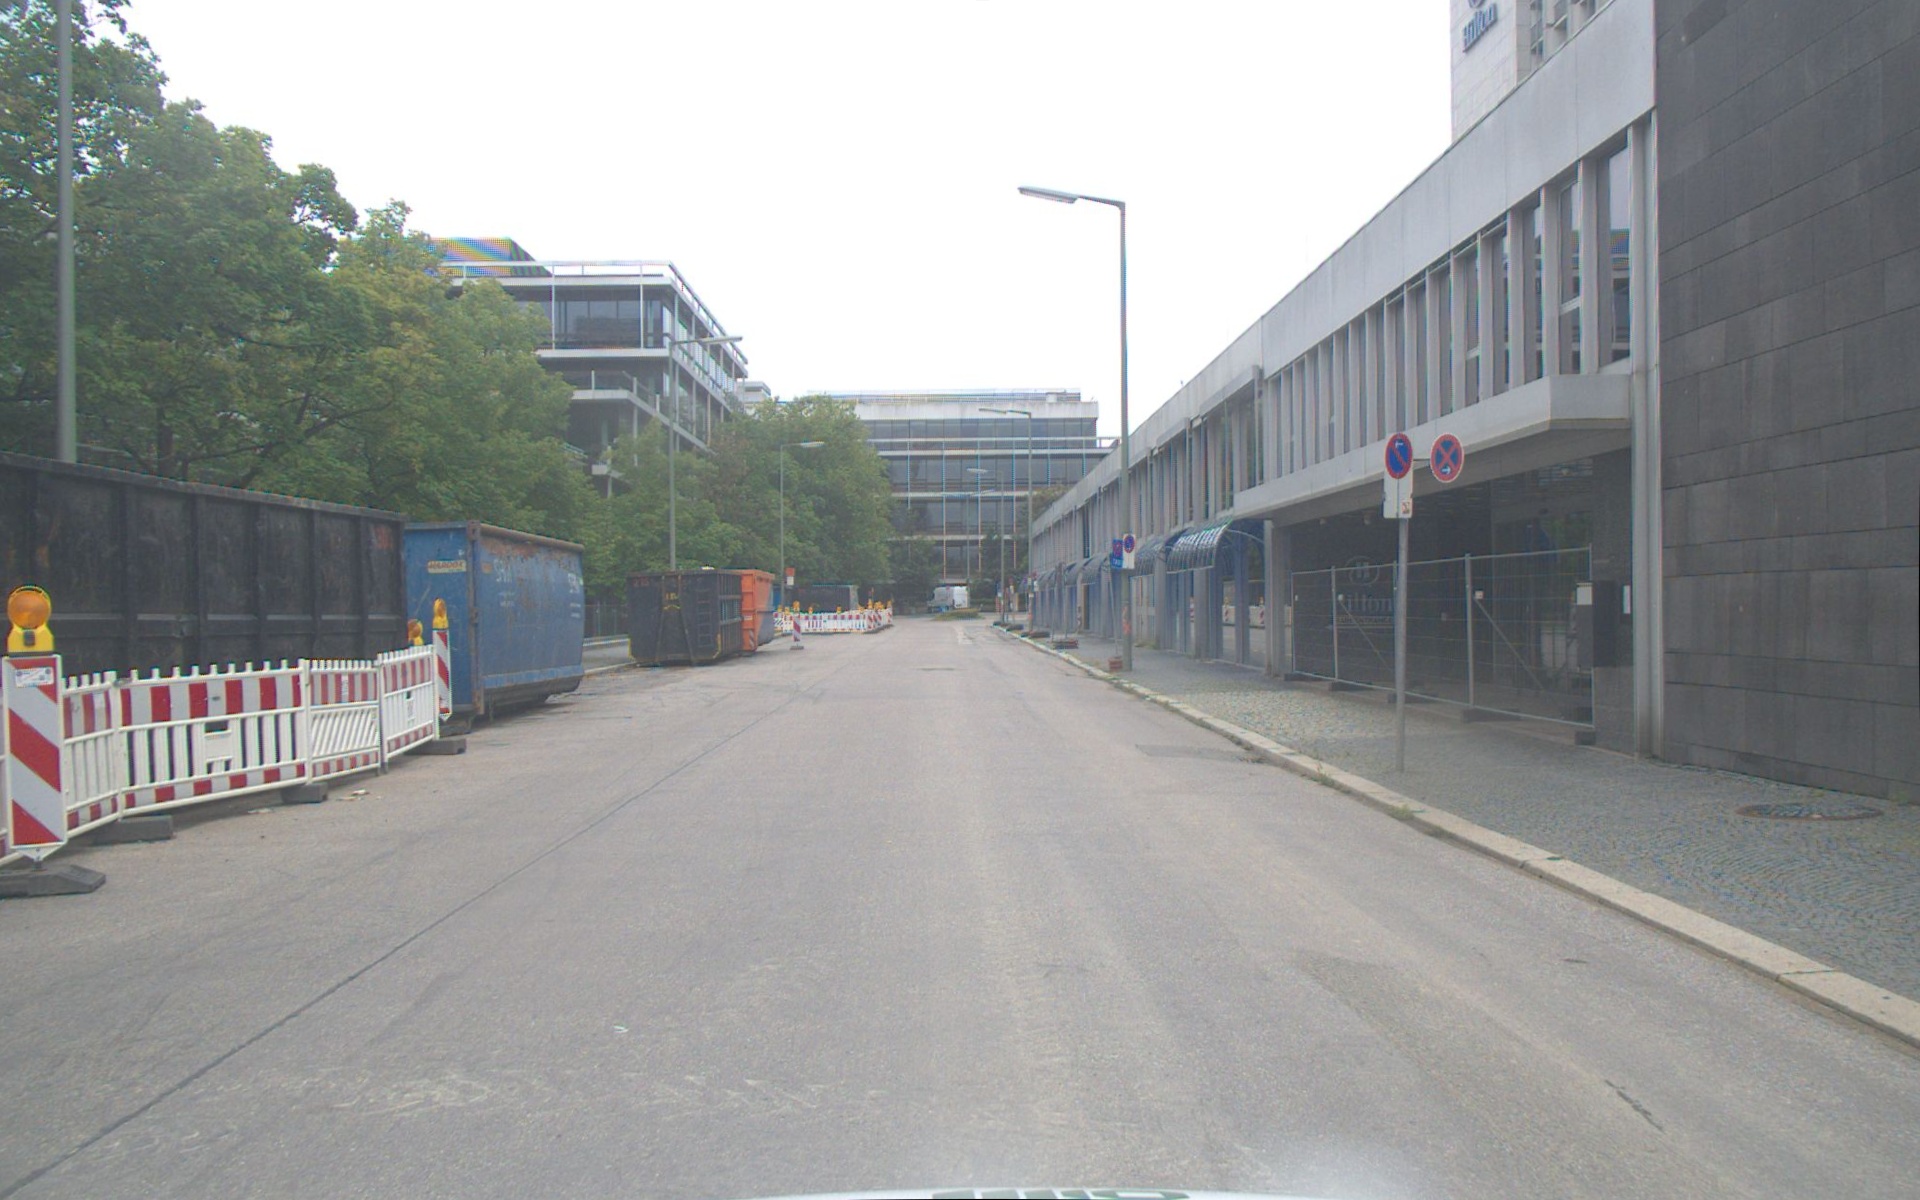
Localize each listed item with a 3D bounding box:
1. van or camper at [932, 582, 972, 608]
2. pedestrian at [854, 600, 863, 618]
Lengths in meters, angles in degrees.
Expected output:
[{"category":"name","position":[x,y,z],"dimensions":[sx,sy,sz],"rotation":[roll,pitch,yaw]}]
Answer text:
[{"category":"van or camper","position":[-0.826,-0.463,164.255],"dimensions":[2.060,2.535,5.025],"rotation":[0,0,-26]},{"category":"pedestrian","position":[-10.012,0.900,162.923],"dimensions":[0.730,1.706,0.678],"rotation":[0,0,-20]}]
